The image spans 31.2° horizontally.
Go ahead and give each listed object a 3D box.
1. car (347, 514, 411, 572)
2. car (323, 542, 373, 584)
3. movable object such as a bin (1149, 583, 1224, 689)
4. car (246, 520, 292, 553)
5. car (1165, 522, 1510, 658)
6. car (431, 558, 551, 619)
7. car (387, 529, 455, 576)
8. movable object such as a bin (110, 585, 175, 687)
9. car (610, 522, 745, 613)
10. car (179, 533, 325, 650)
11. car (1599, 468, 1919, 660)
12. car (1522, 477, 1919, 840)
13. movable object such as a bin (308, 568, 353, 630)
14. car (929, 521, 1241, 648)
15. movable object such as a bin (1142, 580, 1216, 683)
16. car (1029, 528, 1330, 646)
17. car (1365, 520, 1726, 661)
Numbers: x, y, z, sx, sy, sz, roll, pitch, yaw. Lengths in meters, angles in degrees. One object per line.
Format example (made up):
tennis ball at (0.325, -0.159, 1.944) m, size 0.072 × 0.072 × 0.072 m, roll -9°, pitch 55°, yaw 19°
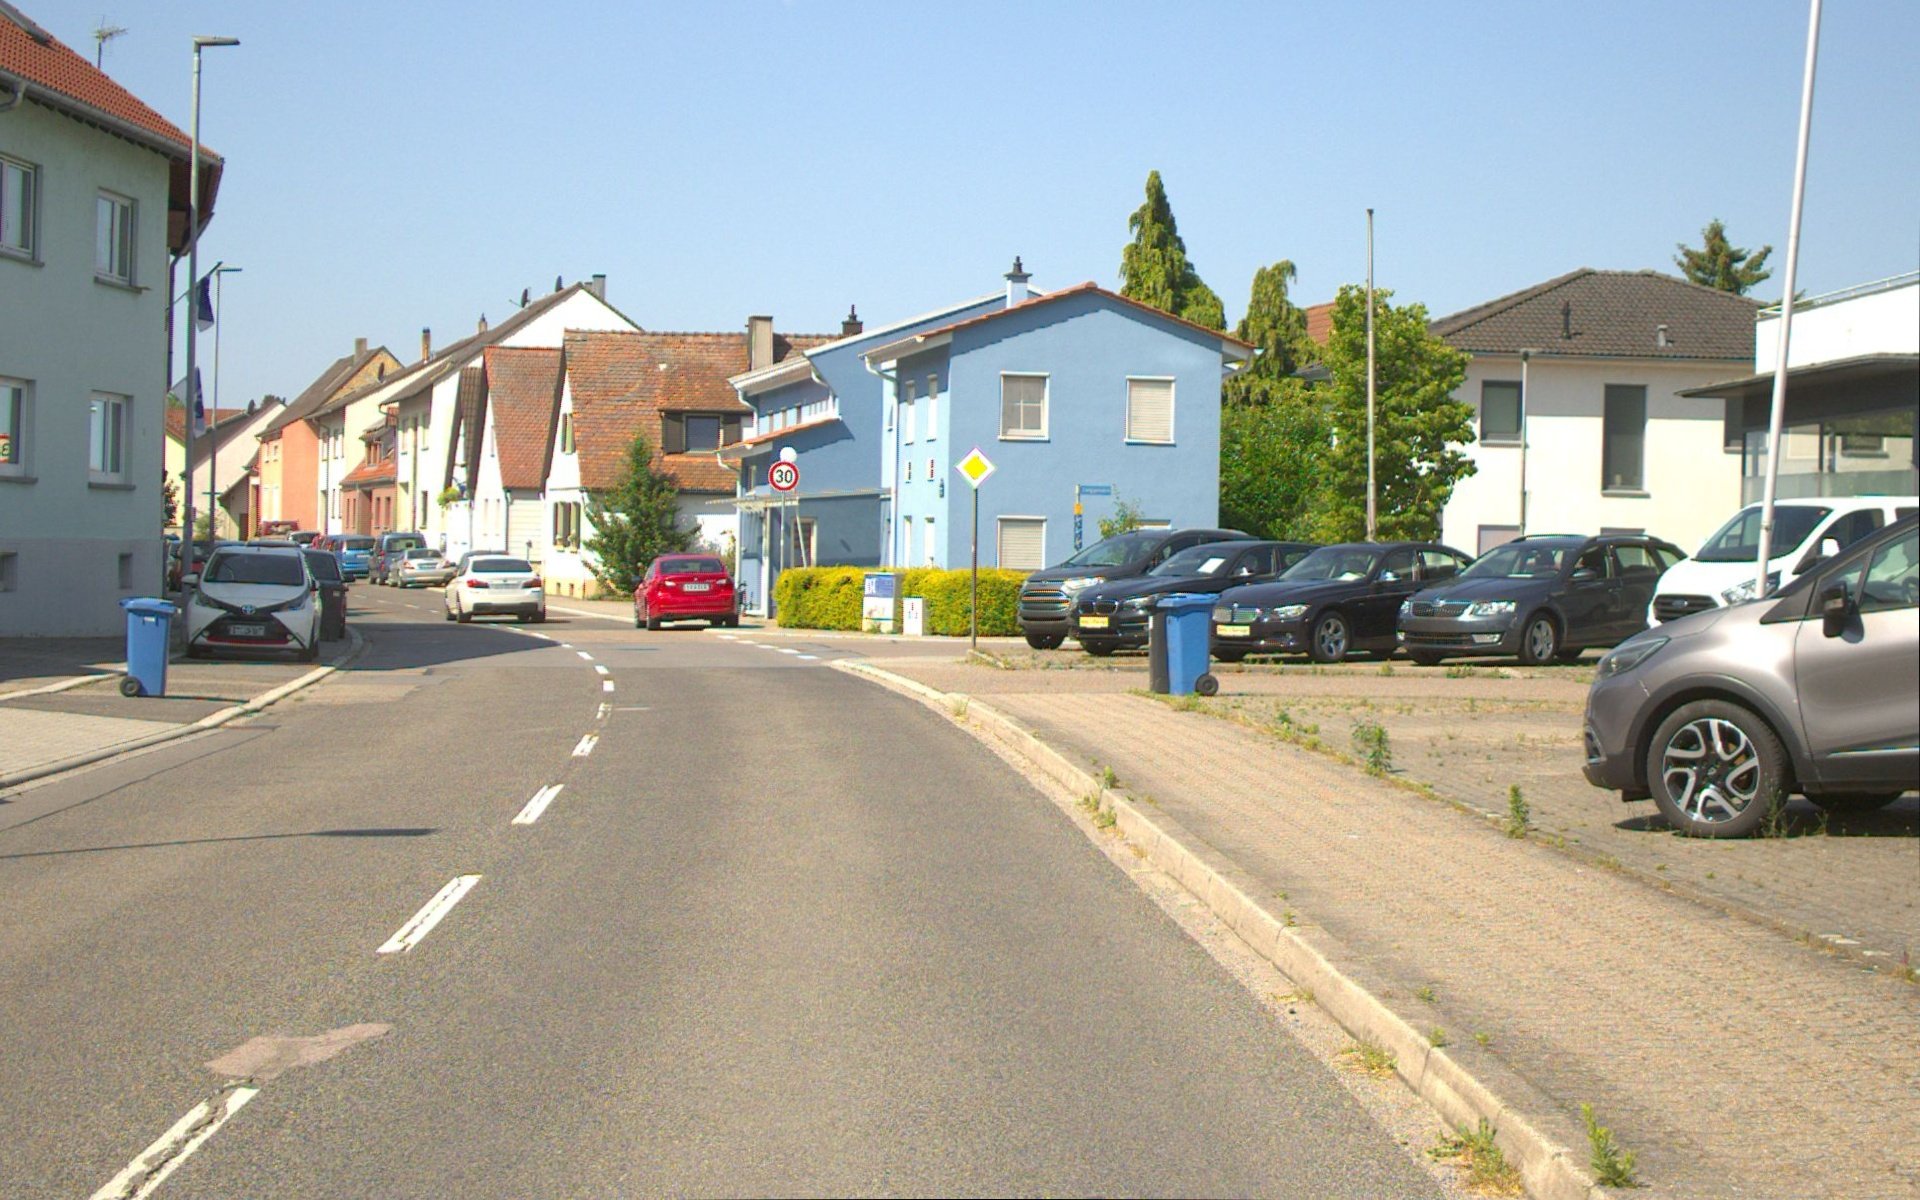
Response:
car at (-20.088, -1.973, 118.784) m, size 1.649 × 1.903 × 3.627 m, roll 1°, pitch 1°, yaw -17°
car at (-23.030, -1.409, 129.283) m, size 1.420 × 1.510 × 3.305 m, roll 1°, pitch 1°, yaw -17°
movable object such as a bin at (2.052, 0.321, 31.169) m, size 0.557 × 0.936 × 0.515 m, roll 0°, pitch 1°, yaw -12°
car at (-31.128, -2.846, 154.722) m, size 1.766 × 1.428 × 3.451 m, roll 0°, pitch 1°, yaw -16°
car at (4.614, -0.153, 41.600) m, size 1.983 × 1.560 × 4.228 m, roll 1°, pitch 1°, yaw 44°
car at (-10.232, -0.262, 74.843) m, size 1.993 × 1.284 × 4.001 m, roll 0°, pitch 1°, yaw -17°
car at (-17.915, -1.587, 114.154) m, size 1.704 × 1.491 × 3.453 m, roll 1°, pitch 1°, yaw -17°
movable object such as a bin at (-7.832, 0.343, 32.953) m, size 0.557 × 0.933 × 0.515 m, roll 3°, pitch 0°, yaw -12°
car at (-5.553, -0.663, 67.105) m, size 1.732 × 1.489 × 4.357 m, roll -1°, pitch 4°, yaw -17°
car at (-9.339, -0.128, 45.524) m, size 1.683 × 1.457 × 3.650 m, roll 1°, pitch 0°, yaw -9°
car at (9.897, -0.415, 38.165) m, size 5.268 × 2.007 × 2.232 m, roll -1°, pitch 1°, yaw -28°
car at (4.801, 0.232, 15.256) m, size 4.176 × 1.550 × 1.771 m, roll -1°, pitch 0°, yaw 35°
movable object such as a bin at (-9.972, -0.017, 54.444) m, size 0.551 × 0.925 × 0.826 m, roll 5°, pitch 0°, yaw -17°
car at (1.720, -0.241, 46.416) m, size 4.102 × 1.647 × 1.830 m, roll -1°, pitch 1°, yaw -42°
movable object such as a bin at (2.020, 0.288, 31.708) m, size 0.557 × 0.933 × 0.515 m, roll 0°, pitch 1°, yaw -12°
car at (2.832, -0.198, 43.836) m, size 1.750 × 1.442 × 3.863 m, roll 1°, pitch 1°, yaw 44°
car at (6.854, -0.144, 40.025) m, size 4.306 × 1.545 × 1.983 m, roll -1°, pitch 1°, yaw -44°
